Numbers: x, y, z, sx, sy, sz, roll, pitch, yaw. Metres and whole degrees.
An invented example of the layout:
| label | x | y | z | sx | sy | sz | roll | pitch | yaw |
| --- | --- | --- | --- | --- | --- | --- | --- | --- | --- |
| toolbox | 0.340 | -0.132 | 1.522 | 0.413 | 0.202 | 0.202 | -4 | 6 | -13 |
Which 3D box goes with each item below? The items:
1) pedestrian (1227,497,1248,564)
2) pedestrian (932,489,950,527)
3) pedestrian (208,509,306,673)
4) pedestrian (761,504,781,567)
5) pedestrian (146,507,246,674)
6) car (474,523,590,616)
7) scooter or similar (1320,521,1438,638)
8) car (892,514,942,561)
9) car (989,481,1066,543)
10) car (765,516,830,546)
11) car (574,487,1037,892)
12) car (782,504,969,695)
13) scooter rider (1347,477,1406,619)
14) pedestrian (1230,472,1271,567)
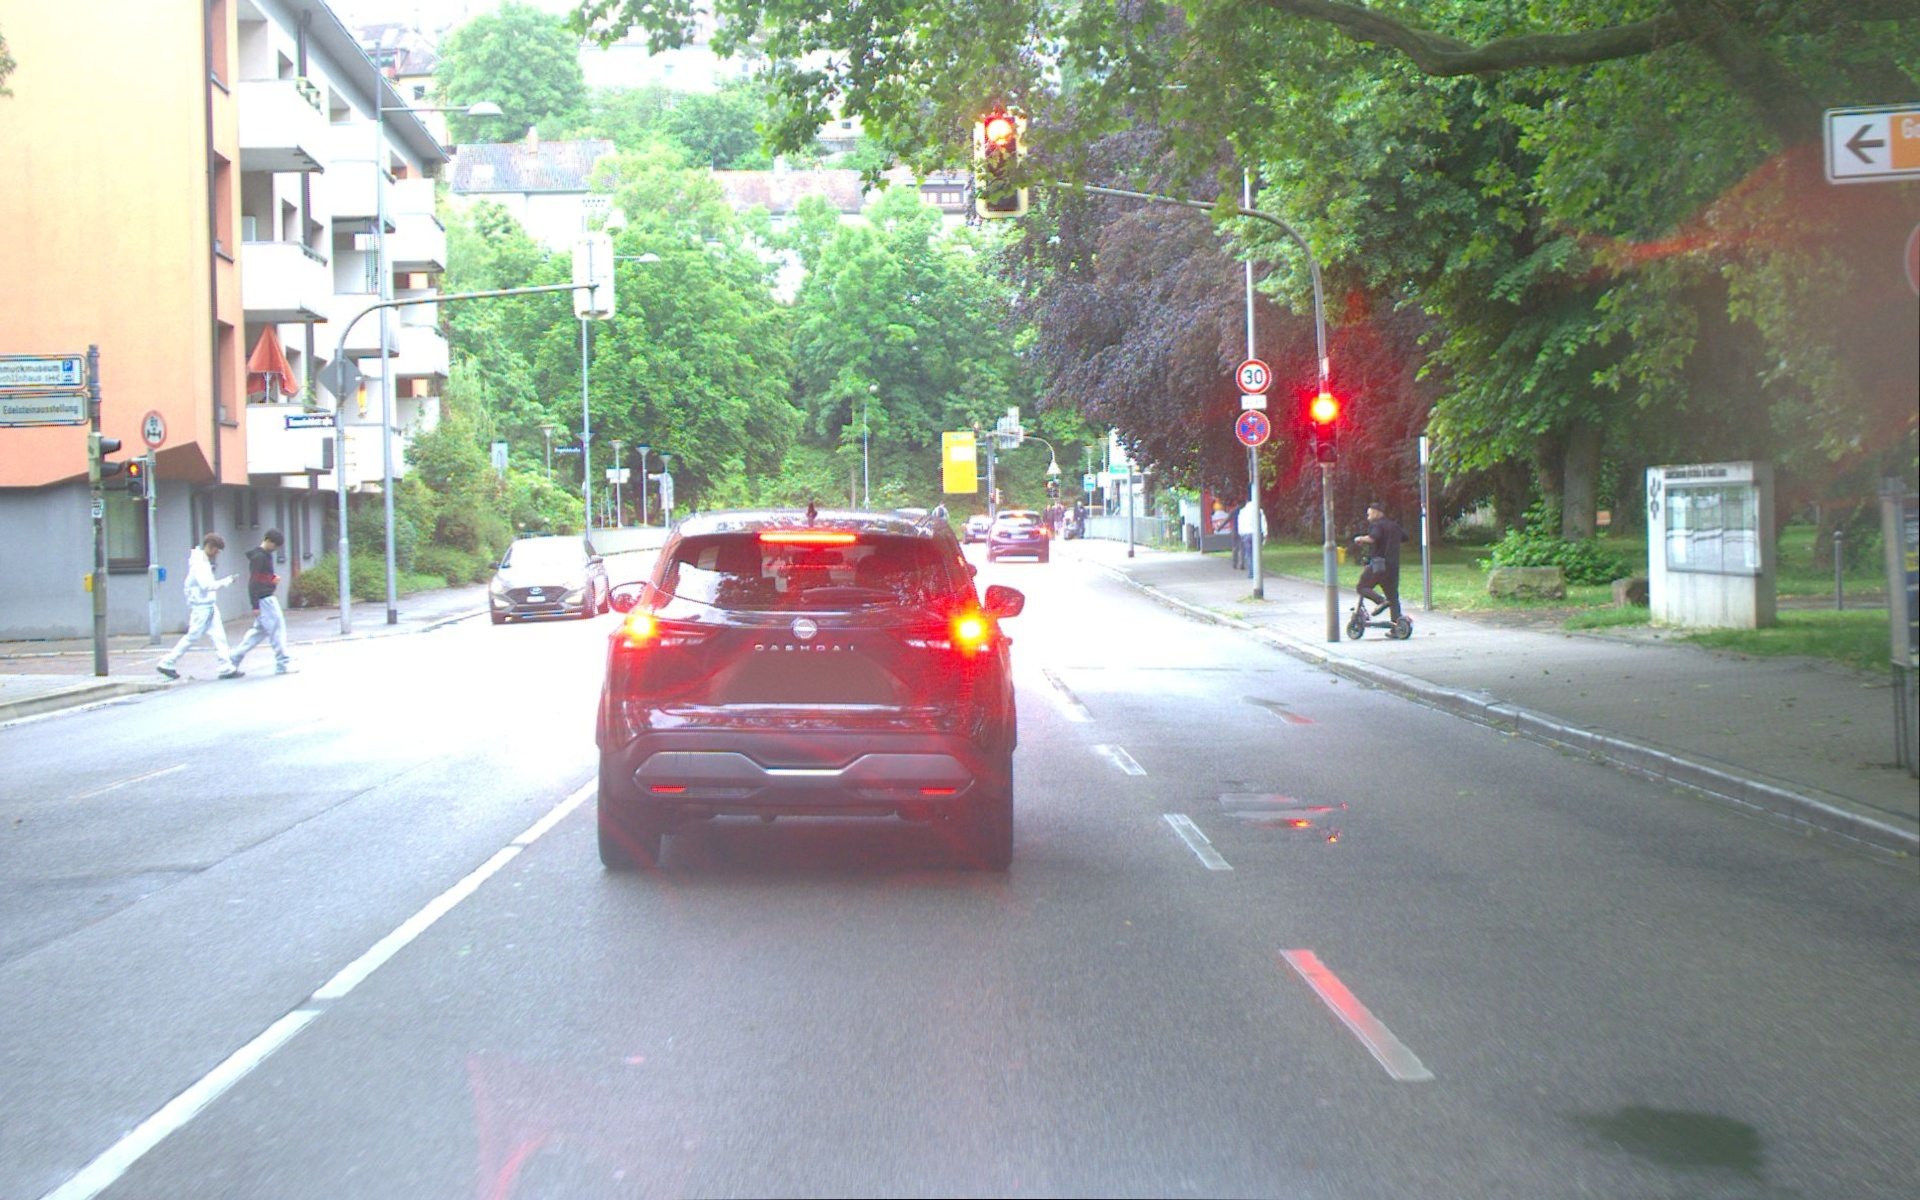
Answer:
| label | x | y | z | sx | sy | sz | roll | pitch | yaw |
| --- | --- | --- | --- | --- | --- | --- | --- | --- | --- |
| pedestrian | 6.246 | -1.559 | 77.326 | 0.390 | 1.497 | 0.559 | -2 | 1 | -1 |
| pedestrian | -0.844 | -4.143 | 154.692 | 0.509 | 1.667 | 0.658 | -1 | 1 | 27 |
| pedestrian | -8.285 | -0.112 | 40.526 | 1.035 | 1.869 | 0.658 | -3 | 1 | -12 |
| pedestrian | -5.501 | -1.878 | 100.063 | 0.508 | 1.795 | 0.619 | -2 | 1 | -1 |
| pedestrian | -8.824 | -0.113 | 39.739 | 1.035 | 1.869 | 0.658 | -3 | 1 | -12 |
| car | -7.509 | -0.558 | 60.595 | 1.795 | 1.528 | 3.868 | -2 | 1 | -4 |
| scooter or similar | 5.270 | -0.255 | 43.216 | 1.394 | 1.441 | 0.816 | -1 | 0 | 12 |
| car | -1.482 | -2.152 | 118.221 | 1.634 | 1.527 | 3.968 | -2 | 1 | -1 |
| car | 1.999 | -2.557 | 100.654 | 1.994 | 1.729 | 4.000 | 1 | 1 | 4 |
| car | -8.941 | -3.796 | 189.433 | 3.438 | 1.546 | 1.760 | 1 | 1 | -7 |
| car | -0.668 | 0.326 | 16.315 | 1.913 | 1.674 | 4.000 | 0 | 1 | -1 |
| car | -0.820 | -0.047 | 34.043 | 1.698 | 1.739 | 3.641 | -2 | 1 | -1 |
| scooter rider | 5.243 | -0.653 | 43.234 | 0.643 | 1.760 | 0.735 | -1 | 0 | 13 |
| pedestrian | 6.177 | -1.712 | 73.112 | 0.725 | 2.007 | 0.851 | -2 | 1 | -1 |
